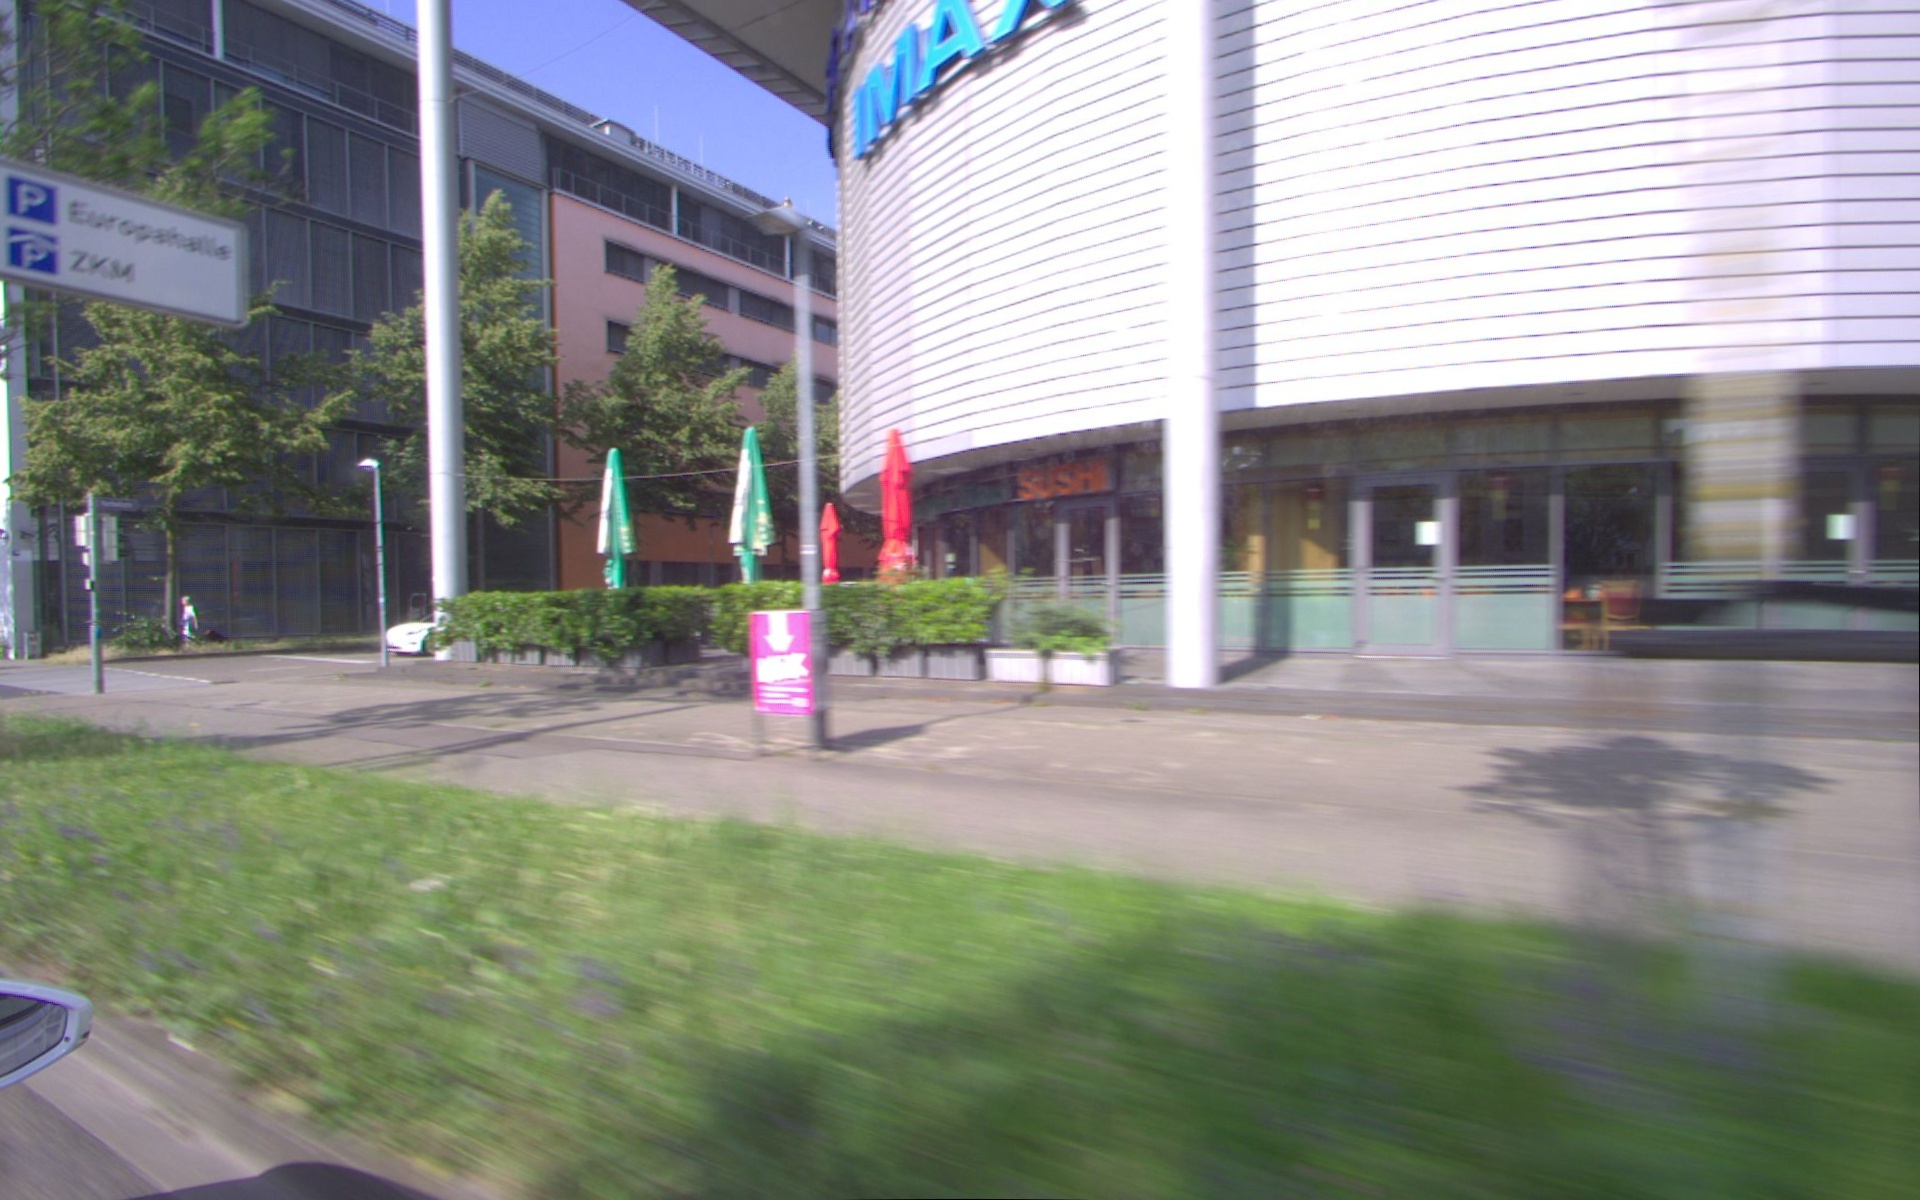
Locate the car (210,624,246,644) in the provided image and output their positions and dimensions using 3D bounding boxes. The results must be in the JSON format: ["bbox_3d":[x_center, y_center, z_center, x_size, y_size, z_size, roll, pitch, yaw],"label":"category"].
[{"bbox_3d":[-22.867,1.072,31.281,0.491,0.595,0.764,-1,0,30],"label":"car"}]

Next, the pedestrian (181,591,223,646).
[{"bbox_3d":[-23.083,0.551,30.500,0.703,1.637,0.776,0,1,31],"label":"pedestrian"}]

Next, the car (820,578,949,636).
[{"bbox_3d":[-2.816,0.239,38.197,2.046,2.040,4.856,-1,0,41],"label":"car"}]

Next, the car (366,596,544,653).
[{"bbox_3d":[-14.652,0.654,29.294,1.874,1.485,4.311,0,1,32],"label":"car"}]
